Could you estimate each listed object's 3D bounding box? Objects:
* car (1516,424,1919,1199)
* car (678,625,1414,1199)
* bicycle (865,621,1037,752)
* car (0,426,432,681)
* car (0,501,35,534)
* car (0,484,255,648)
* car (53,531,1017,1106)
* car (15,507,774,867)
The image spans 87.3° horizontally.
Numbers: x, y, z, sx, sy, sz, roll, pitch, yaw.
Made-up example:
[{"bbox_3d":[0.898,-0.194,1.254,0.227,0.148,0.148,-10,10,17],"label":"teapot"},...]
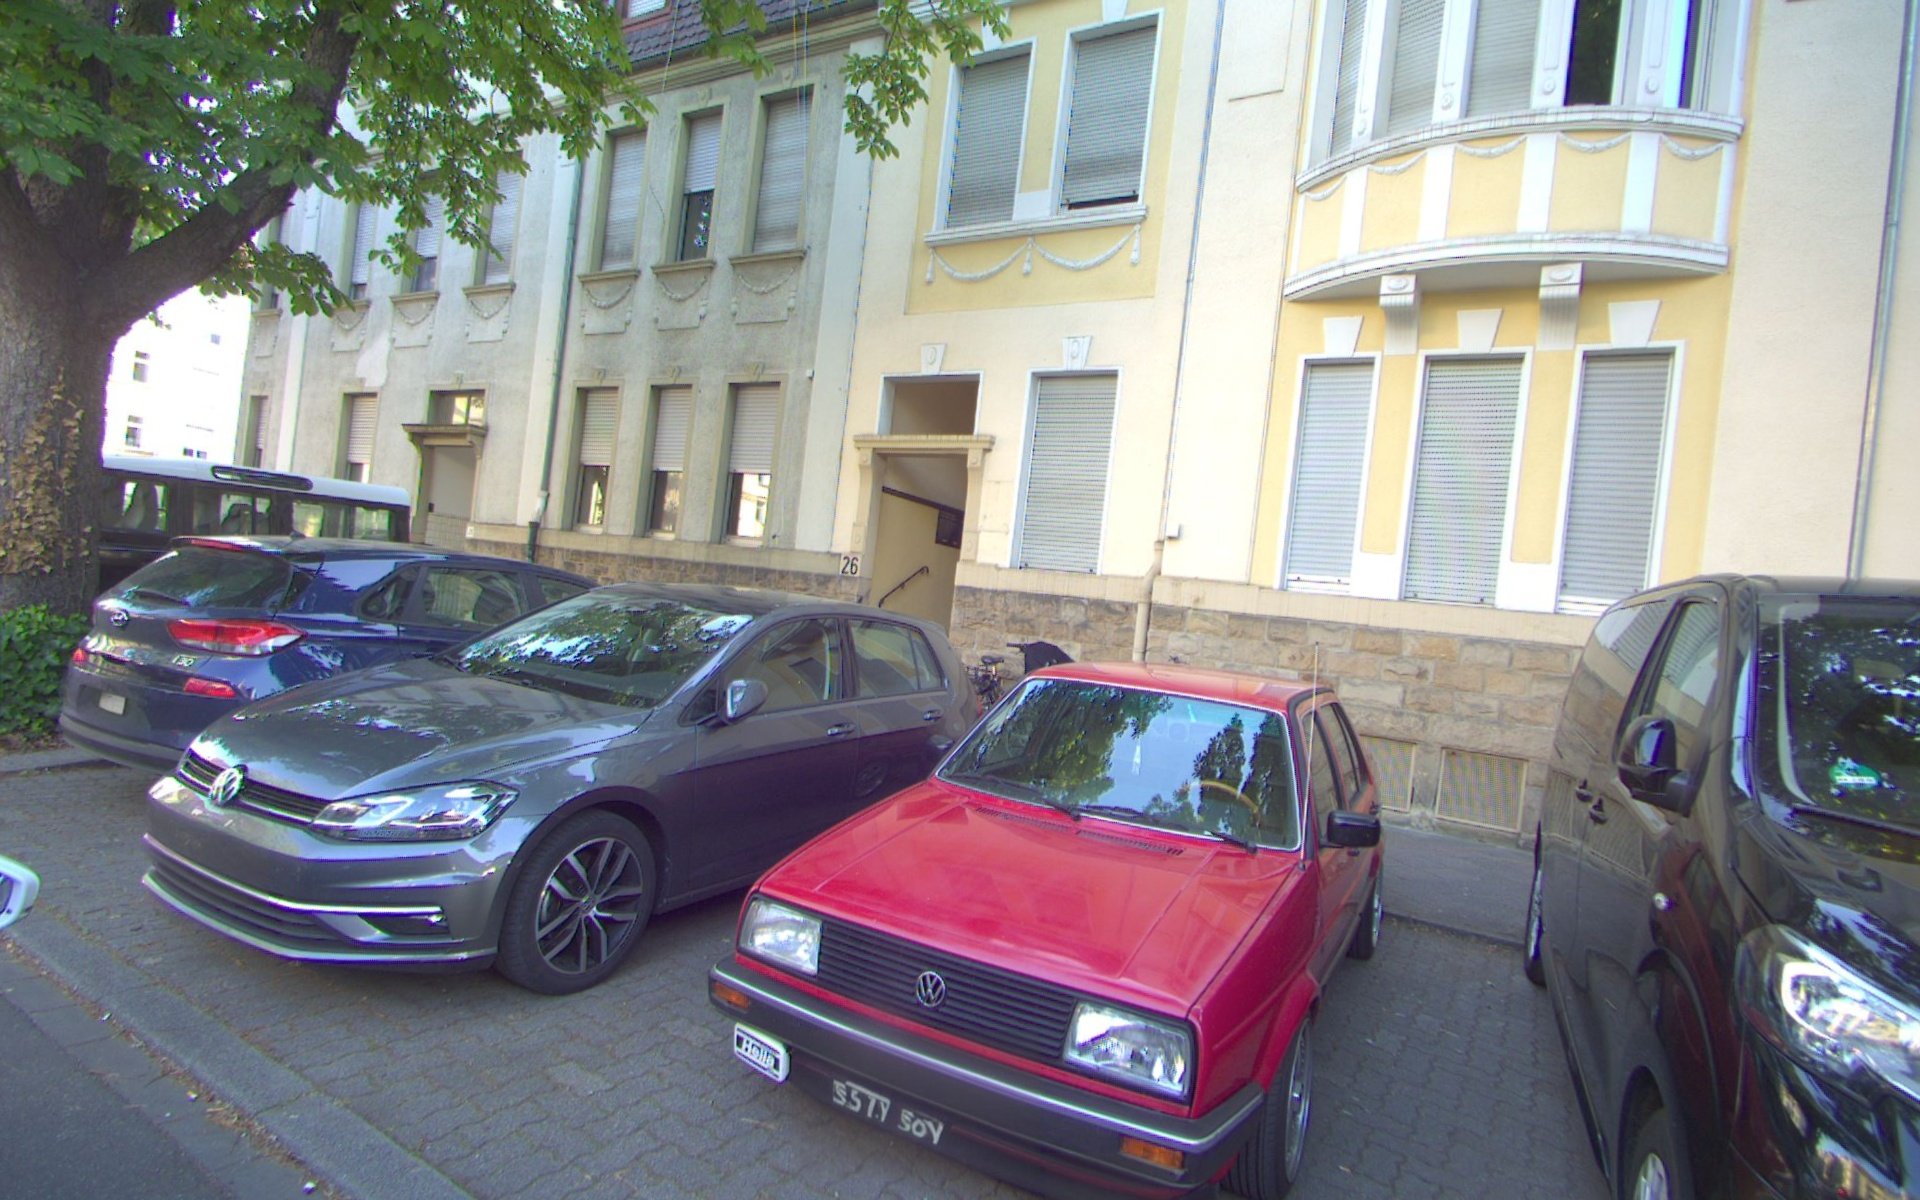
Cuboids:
[{"bbox_3d":[2.887,0.898,2.946,1.848,1.847,4.829,6,0,27],"label":"car"},{"bbox_3d":[0.846,0.895,4.224,1.532,1.337,3.916,6,0,29],"label":"car"},{"bbox_3d":[-0.119,0.858,10.410,1.675,1.090,0.500,7,2,31],"label":"bicycle"},{"bbox_3d":[-7.613,-0.383,9.310,1.762,1.981,4.496,7,1,29],"label":"car"},{"bbox_3d":[-36.465,-3.256,36.959,1.357,1.081,3.370,7,-1,30],"label":"car"},{"bbox_3d":[-10.016,-0.395,10.844,1.680,1.606,3.488,7,0,25],"label":"car"},{"bbox_3d":[-1.377,0.646,4.810,1.600,1.440,4.054,6,0,29],"label":"car"},{"bbox_3d":[-3.030,0.417,6.224,1.600,1.440,3.754,6,0,29],"label":"car"}]
